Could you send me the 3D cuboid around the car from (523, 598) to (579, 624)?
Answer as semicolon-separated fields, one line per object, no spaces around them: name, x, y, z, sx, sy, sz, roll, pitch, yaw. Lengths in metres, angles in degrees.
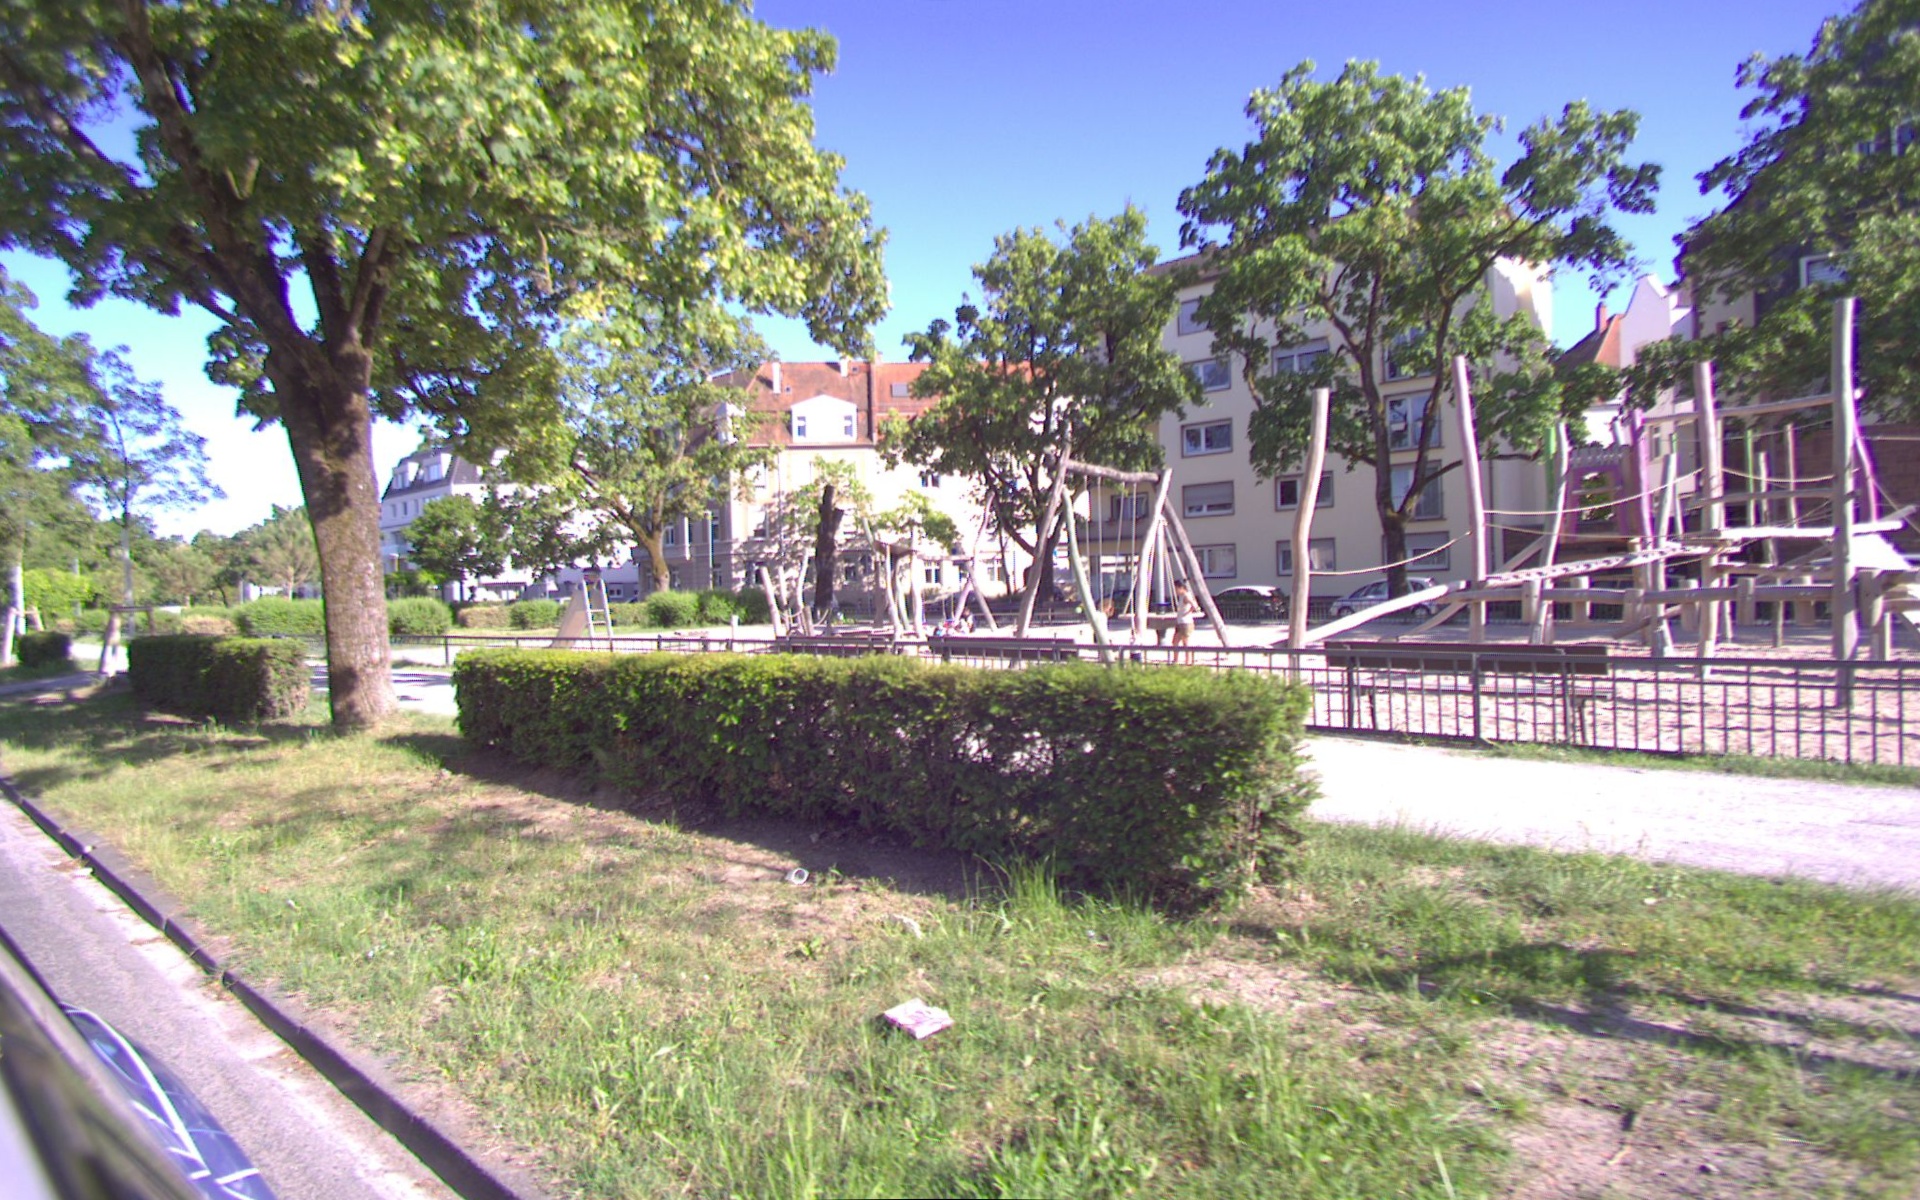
car;-28.671;0.772;70.875;4.585;1.647;1.776;-2;0;41

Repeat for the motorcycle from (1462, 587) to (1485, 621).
motorcycle;17.834;0.128;35.130;0.499;1.116;1.780;-1;0;33

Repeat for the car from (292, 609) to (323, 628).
car;-73.685;2.077;114.275;4.405;2.044;1.915;-2;-1;43

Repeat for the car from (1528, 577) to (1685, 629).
car;20.680;0.101;32.448;3.998;1.521;1.776;-2;0;41

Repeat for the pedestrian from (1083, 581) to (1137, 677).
pedestrian;2.707;0.518;18.266;0.639;1.674;0.652;-2;0;-31

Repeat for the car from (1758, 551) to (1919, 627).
car;25.424;-0.309;28.258;4.833;1.997;1.776;-2;0;41

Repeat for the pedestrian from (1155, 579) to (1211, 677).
pedestrian;3.914;0.482;17.792;0.639;1.674;0.652;-2;0;-31

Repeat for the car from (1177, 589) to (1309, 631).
car;11.357;0.424;40.802;4.760;1.521;1.887;-2;0;40

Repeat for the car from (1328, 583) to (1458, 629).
car;15.754;0.233;36.948;3.998;1.521;1.776;-2;0;41

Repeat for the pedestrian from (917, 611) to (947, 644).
pedestrian;-0.872;0.862;31.489;0.535;0.986;0.779;-2;0;-42

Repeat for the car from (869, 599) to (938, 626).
car;-3.513;0.731;62.534;3.933;1.521;1.805;-2;0;-14
